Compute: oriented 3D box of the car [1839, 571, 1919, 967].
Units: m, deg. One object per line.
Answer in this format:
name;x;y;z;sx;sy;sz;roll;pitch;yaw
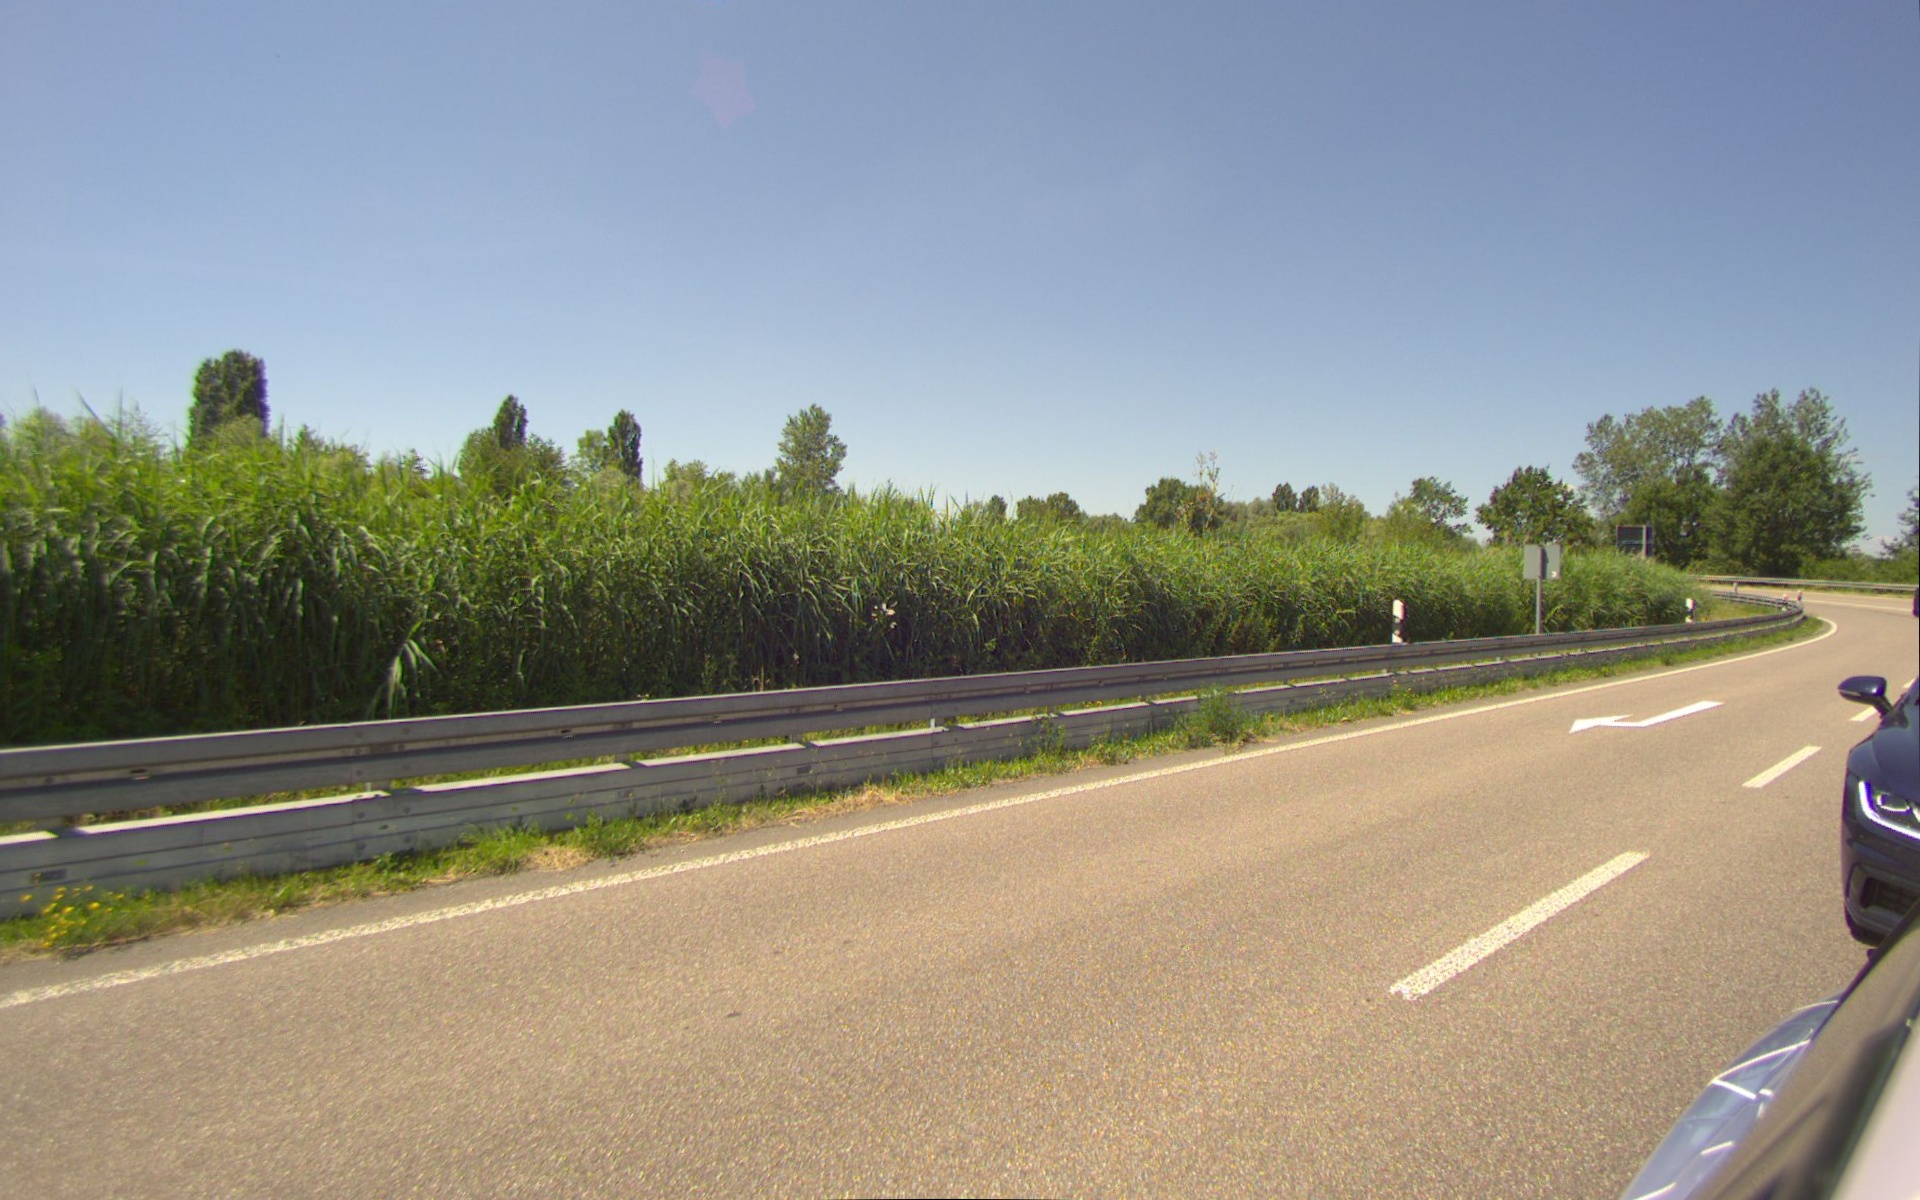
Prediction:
car;5.659;0.618;4.687;4.338;1.481;1.818;-1;1;-41
